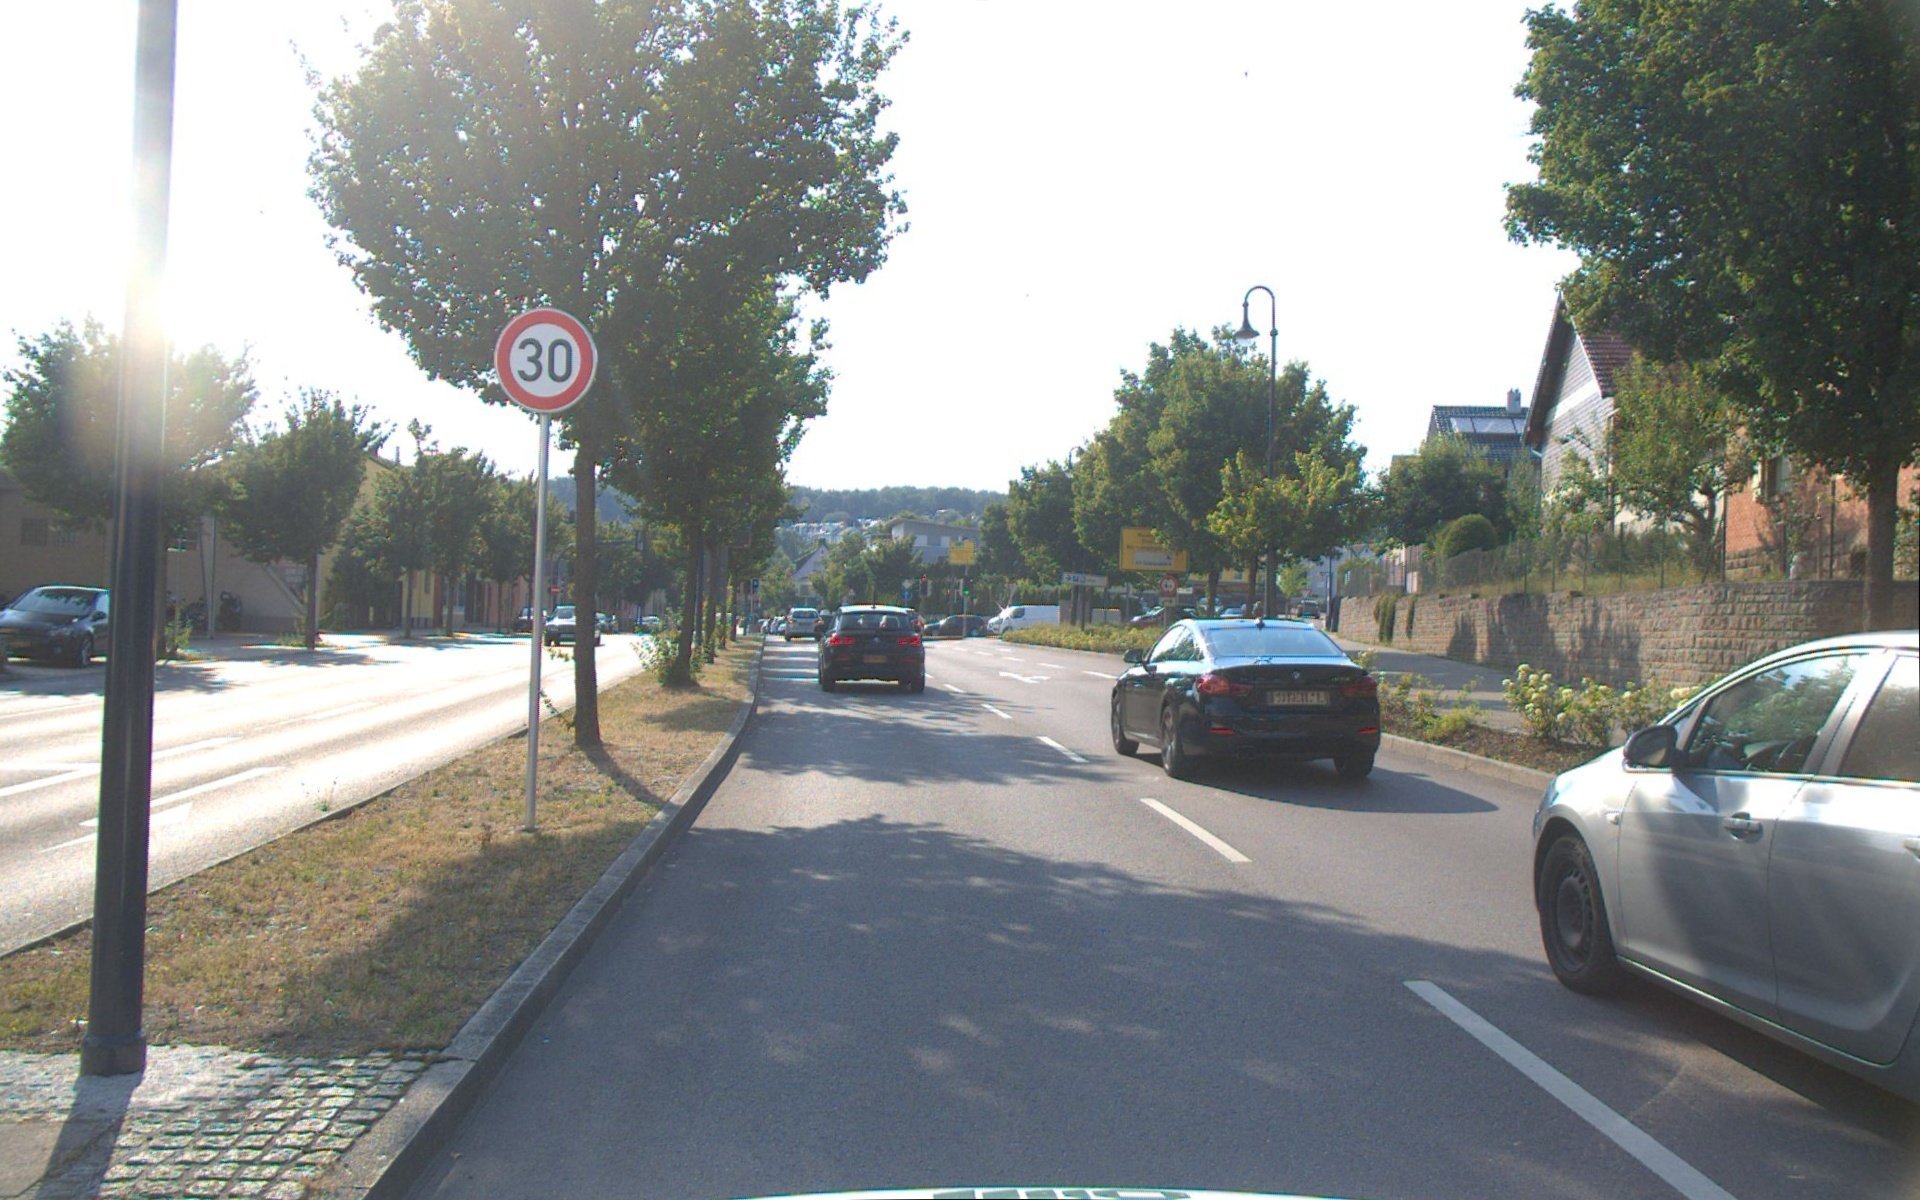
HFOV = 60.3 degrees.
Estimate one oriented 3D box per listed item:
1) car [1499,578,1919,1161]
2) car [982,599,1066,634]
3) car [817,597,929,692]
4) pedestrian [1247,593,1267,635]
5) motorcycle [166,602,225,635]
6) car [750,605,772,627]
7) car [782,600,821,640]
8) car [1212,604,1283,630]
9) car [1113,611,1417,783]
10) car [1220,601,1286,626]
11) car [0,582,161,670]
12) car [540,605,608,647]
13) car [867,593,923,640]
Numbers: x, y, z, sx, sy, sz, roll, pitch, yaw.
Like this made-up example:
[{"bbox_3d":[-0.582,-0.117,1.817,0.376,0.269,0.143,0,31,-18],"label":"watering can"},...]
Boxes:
[{"bbox_3d":[3.310,0.691,5.235,1.686,1.516,4.305,0,1,-2],"label":"car"},{"bbox_3d":[4.102,1.062,106.293,5.023,2.167,2.138,1,0,-15],"label":"car"},{"bbox_3d":[-1.466,0.727,29.184,1.685,1.516,4.353,1,0,0],"label":"car"},{"bbox_3d":[12.291,0.560,68.496,0.681,1.732,0.950,0,0,2],"label":"pedestrian"},{"bbox_3d":[-26.048,0.626,56.380,0.506,1.088,1.867,0,0,29],"label":"motorcycle"},{"bbox_3d":[-18.875,1.521,156.749,1.737,2.049,3.998,1,0,-2],"label":"car"},{"bbox_3d":[-7.421,0.915,77.376,1.722,1.800,3.965,0,0,-7],"label":"car"},{"bbox_3d":[20.373,1.203,117.205,4.545,1.861,1.996,0,0,-10],"label":"car"},{"bbox_3d":[2.693,0.805,15.648,1.882,1.388,4.350,0,0,-3],"label":"car"},{"bbox_3d":[22.238,1.023,125.472,4.545,1.861,1.996,0,0,-10],"label":"car"},{"bbox_3d":[-17.340,0.479,32.303,1.723,1.479,4.127,5,0,-6],"label":"car"},{"bbox_3d":[-13.601,0.895,58.440,1.722,1.385,4.479,0,0,-5],"label":"car"},{"bbox_3d":[-2.617,0.624,65.617,1.888,1.800,4.447,0,0,-7],"label":"car"}]
